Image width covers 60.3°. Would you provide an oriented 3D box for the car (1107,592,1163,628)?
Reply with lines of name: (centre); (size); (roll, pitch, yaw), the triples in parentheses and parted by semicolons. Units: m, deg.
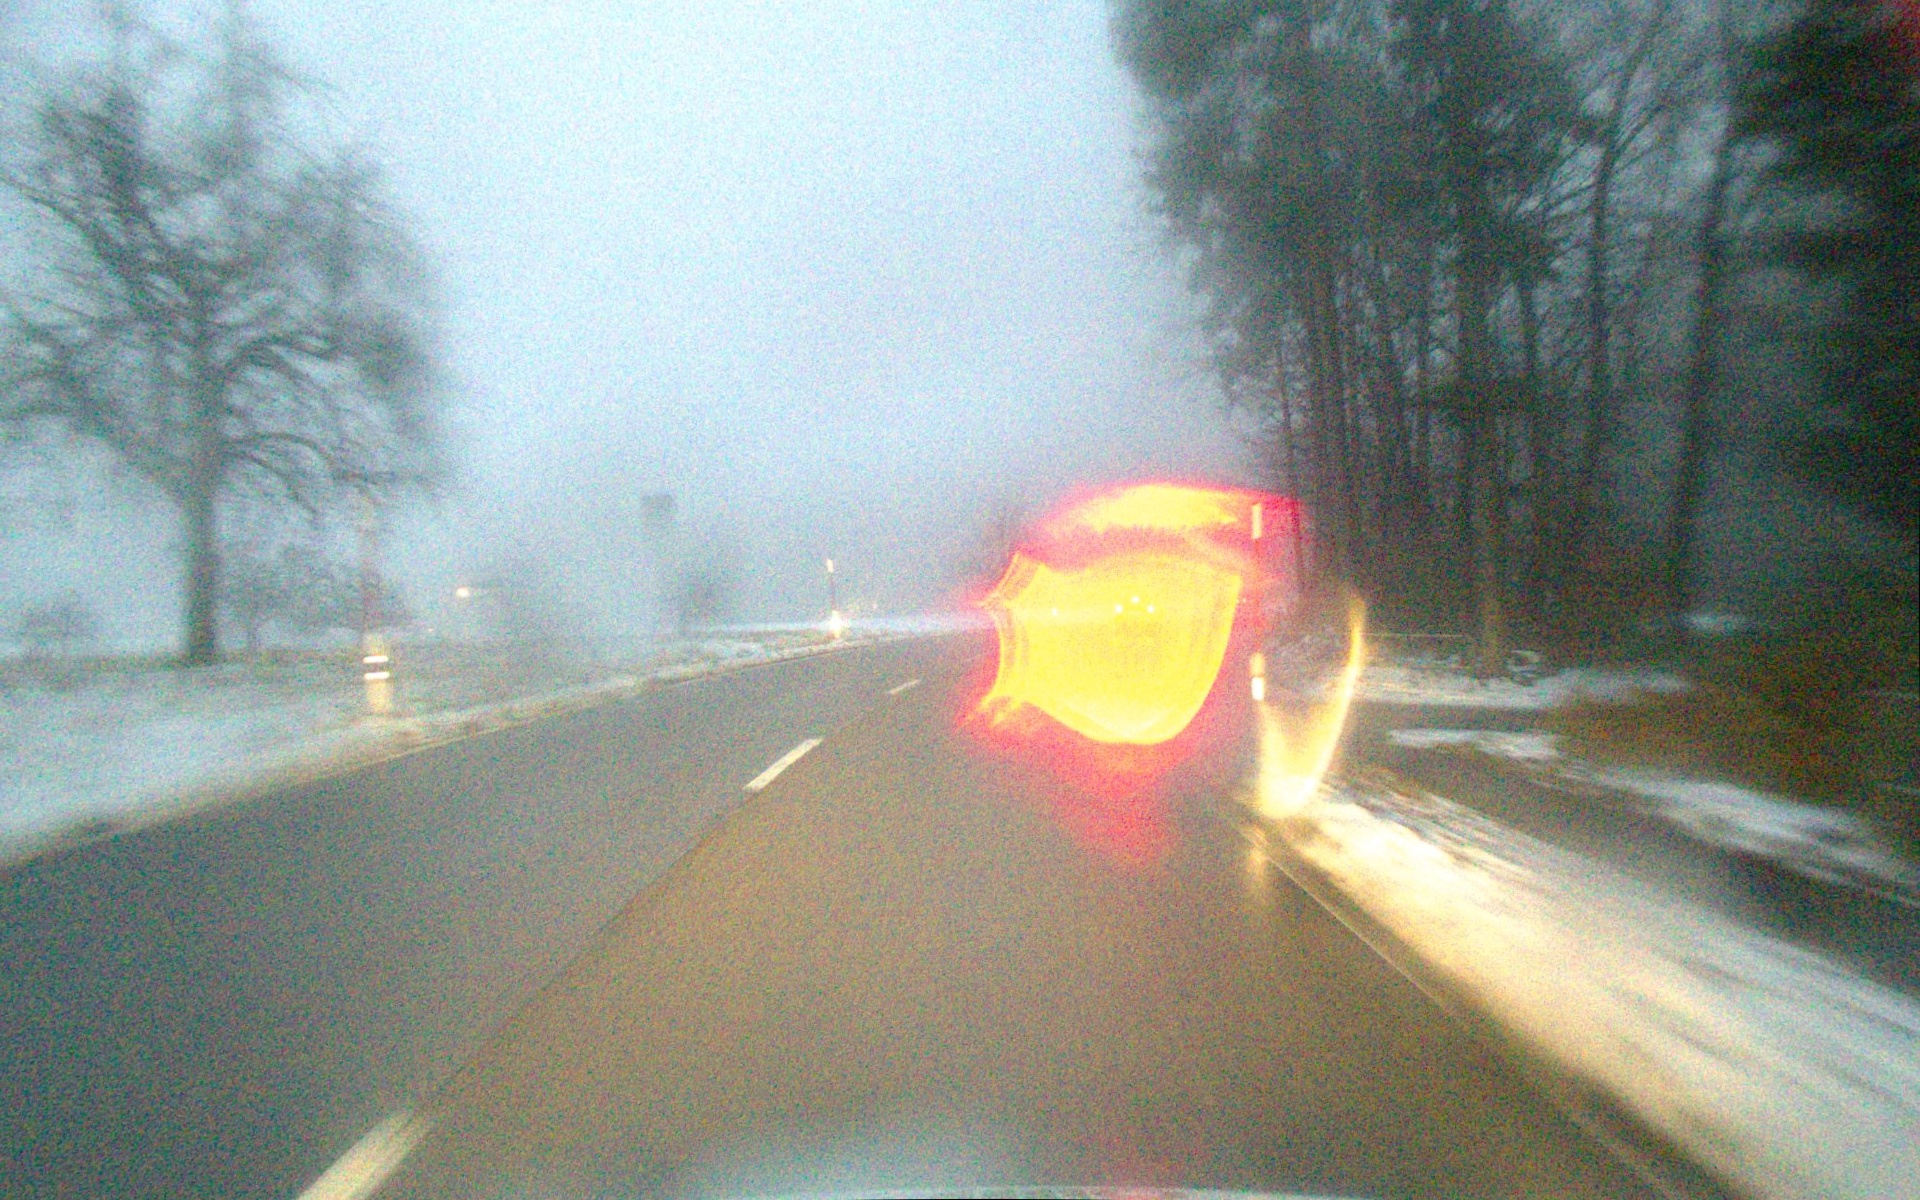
car: (7.144, 0.396, 67.244); (1.881, 1.299, 4.004); (-1, 1, 12)
